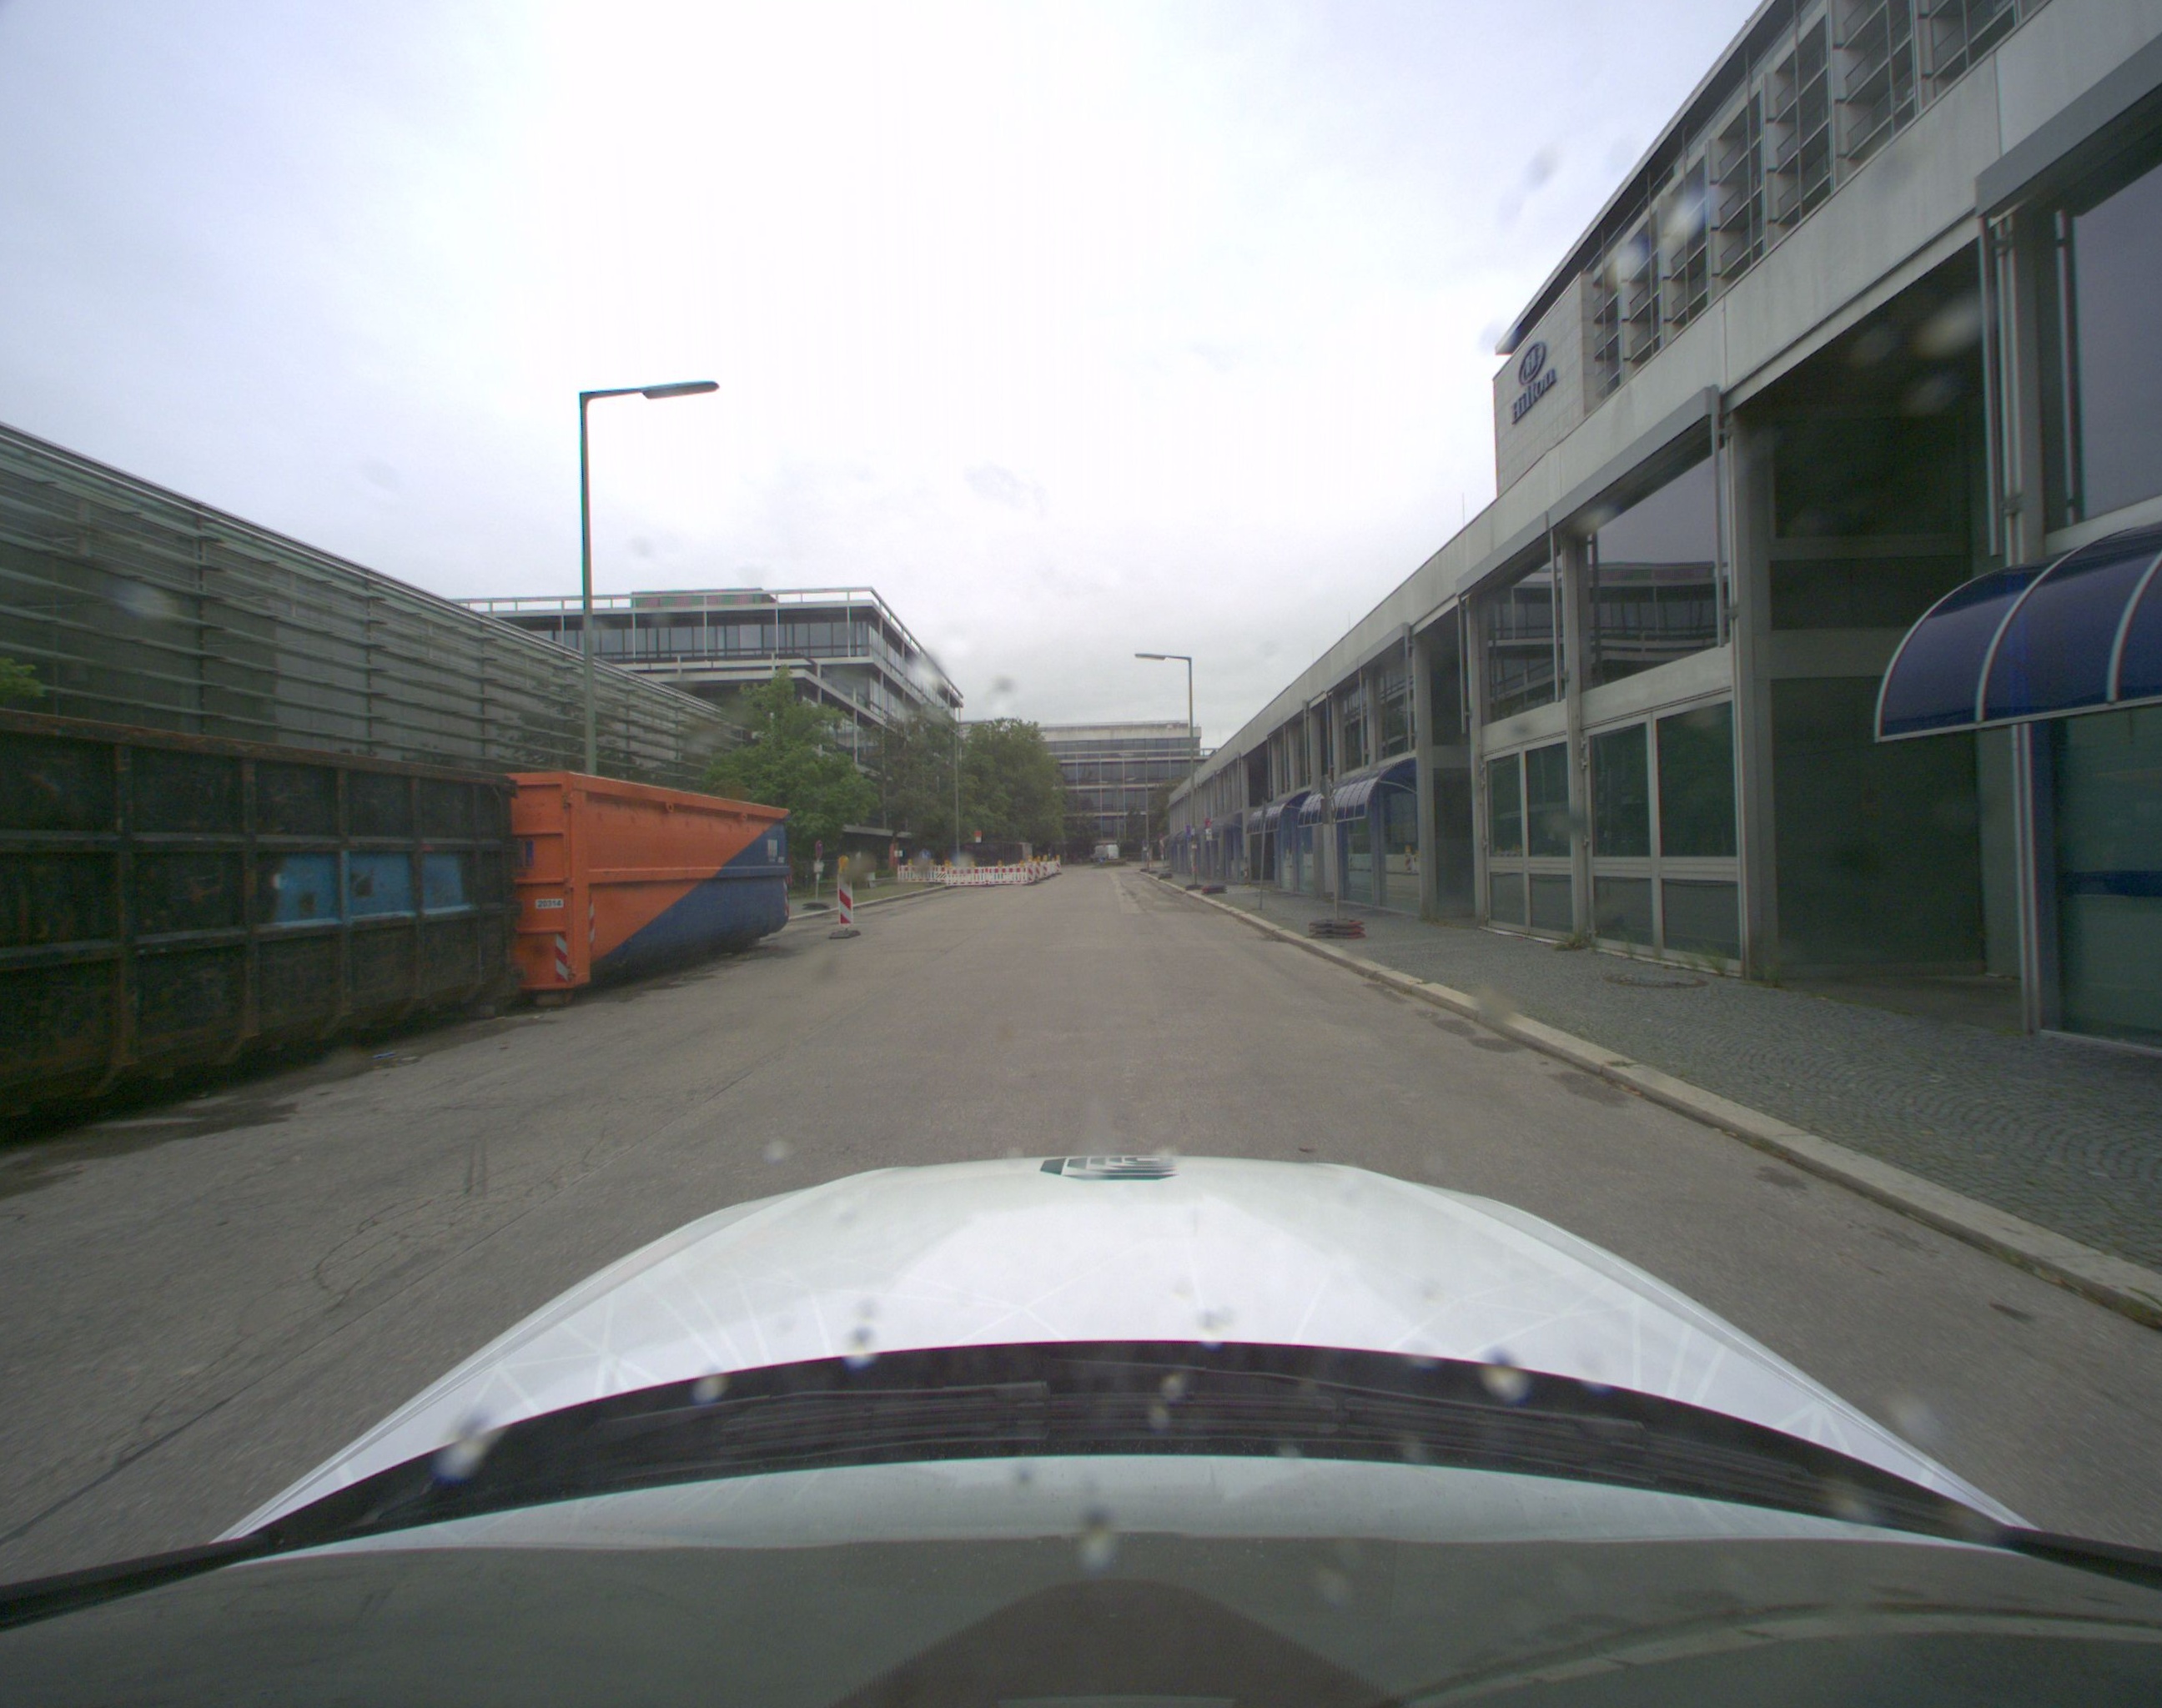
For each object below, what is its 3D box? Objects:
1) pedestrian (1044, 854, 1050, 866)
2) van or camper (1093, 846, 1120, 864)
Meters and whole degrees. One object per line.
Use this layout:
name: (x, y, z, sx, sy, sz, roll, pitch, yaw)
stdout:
pedestrian: (-5.040, 0.921, 121.605, 0.743, 1.677, 0.678, -1, 0, -18)
van or camper: (3.851, 0.157, 122.657, 2.095, 2.492, 5.026, -1, 0, -24)
